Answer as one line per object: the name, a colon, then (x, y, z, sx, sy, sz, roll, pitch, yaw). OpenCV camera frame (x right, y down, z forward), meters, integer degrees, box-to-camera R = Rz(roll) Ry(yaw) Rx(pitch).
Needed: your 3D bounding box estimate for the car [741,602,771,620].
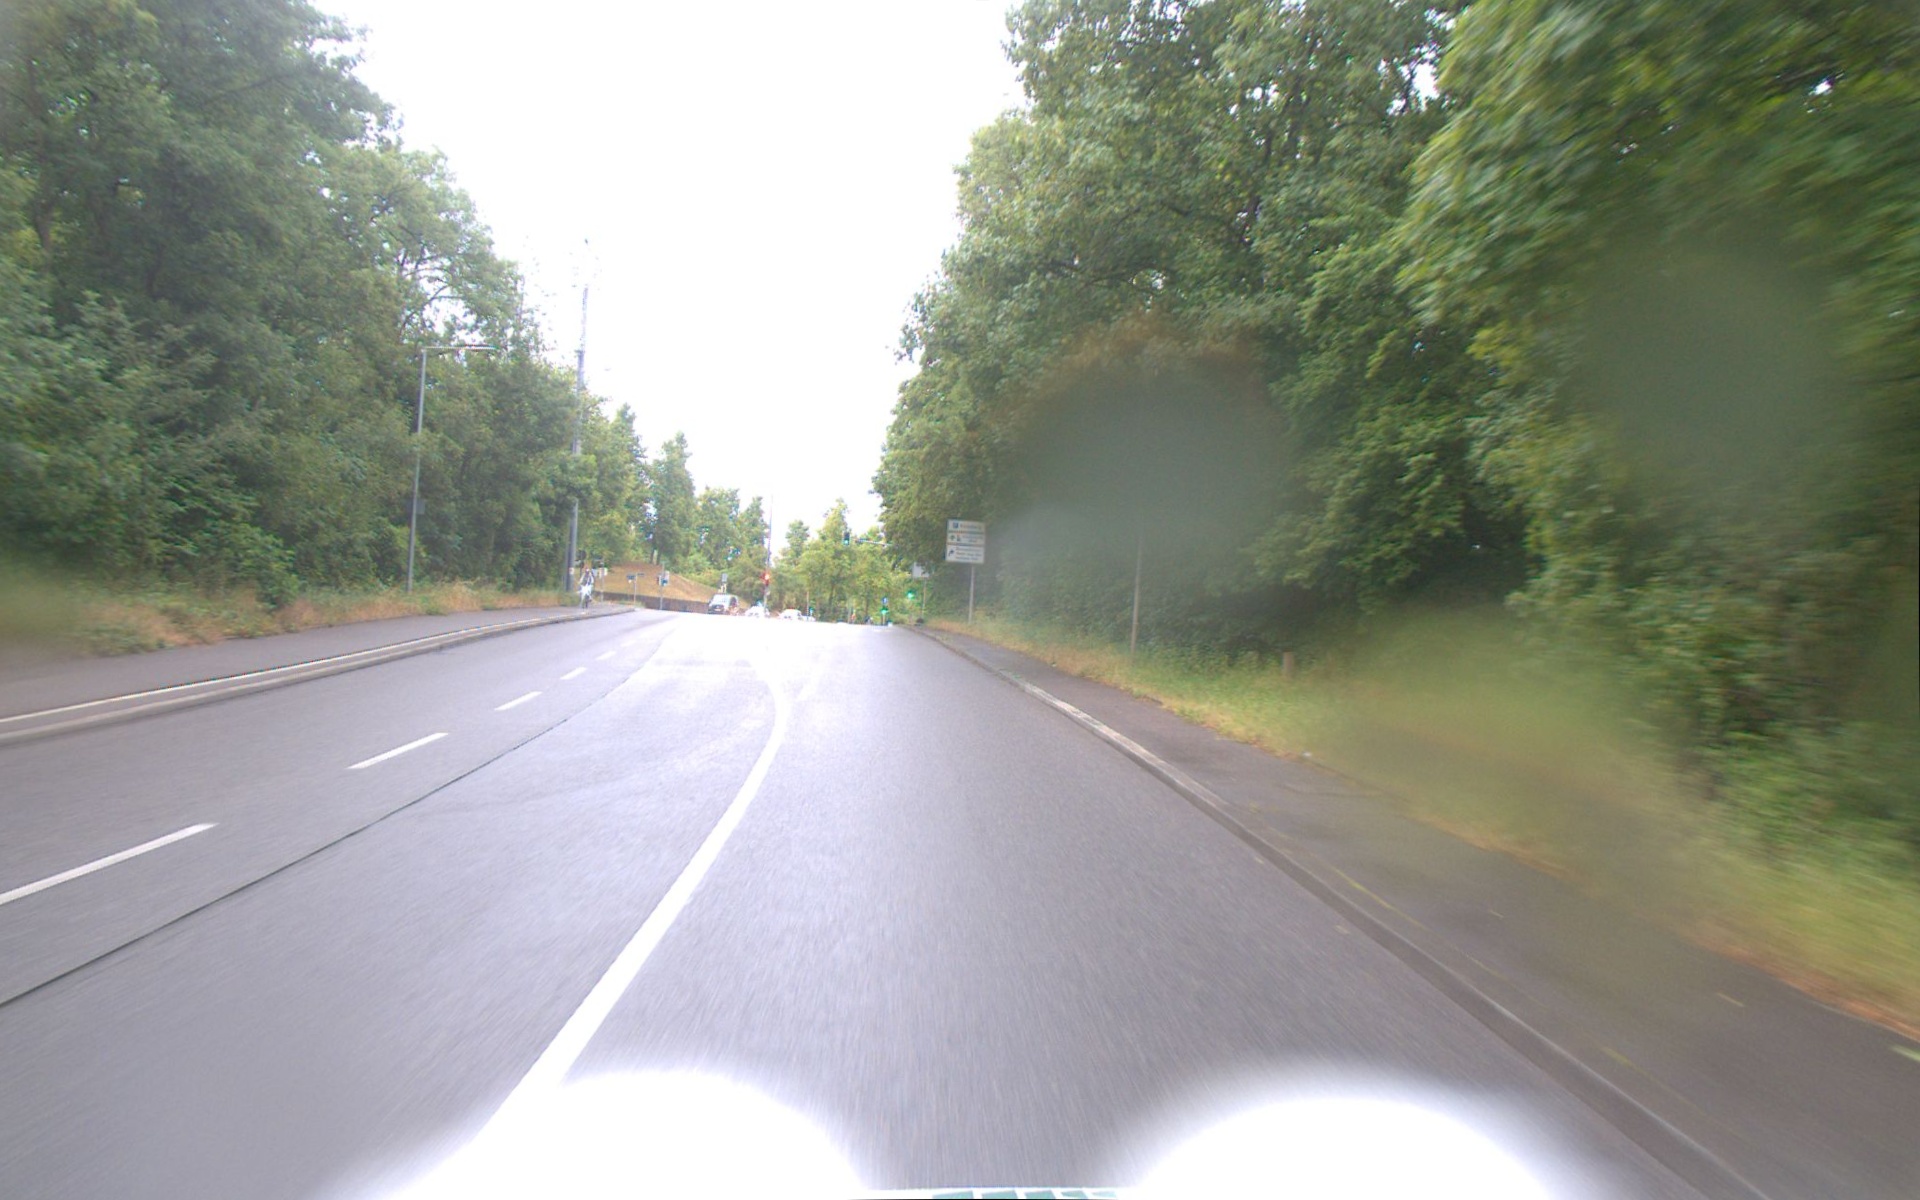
car: (-19.346, 1.073, 156.834, 1.857, 1.578, 4.002, 1, -1, 7)

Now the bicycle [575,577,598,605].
bicycle: (-17.111, -0.410, 75.780, 0.690, 1.264, 2.163, 1, 0, -4)

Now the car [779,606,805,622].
car: (-15.893, 1.357, 156.811, 1.857, 1.378, 4.001, 1, -1, 3)

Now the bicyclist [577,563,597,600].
bicyclist: (-17.093, -0.828, 75.785, 0.690, 1.673, 0.950, 1, 0, -4)

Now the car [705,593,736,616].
car: (-20.224, 0.379, 140.068, 1.952, 1.881, 4.000, 1, -1, 1)
